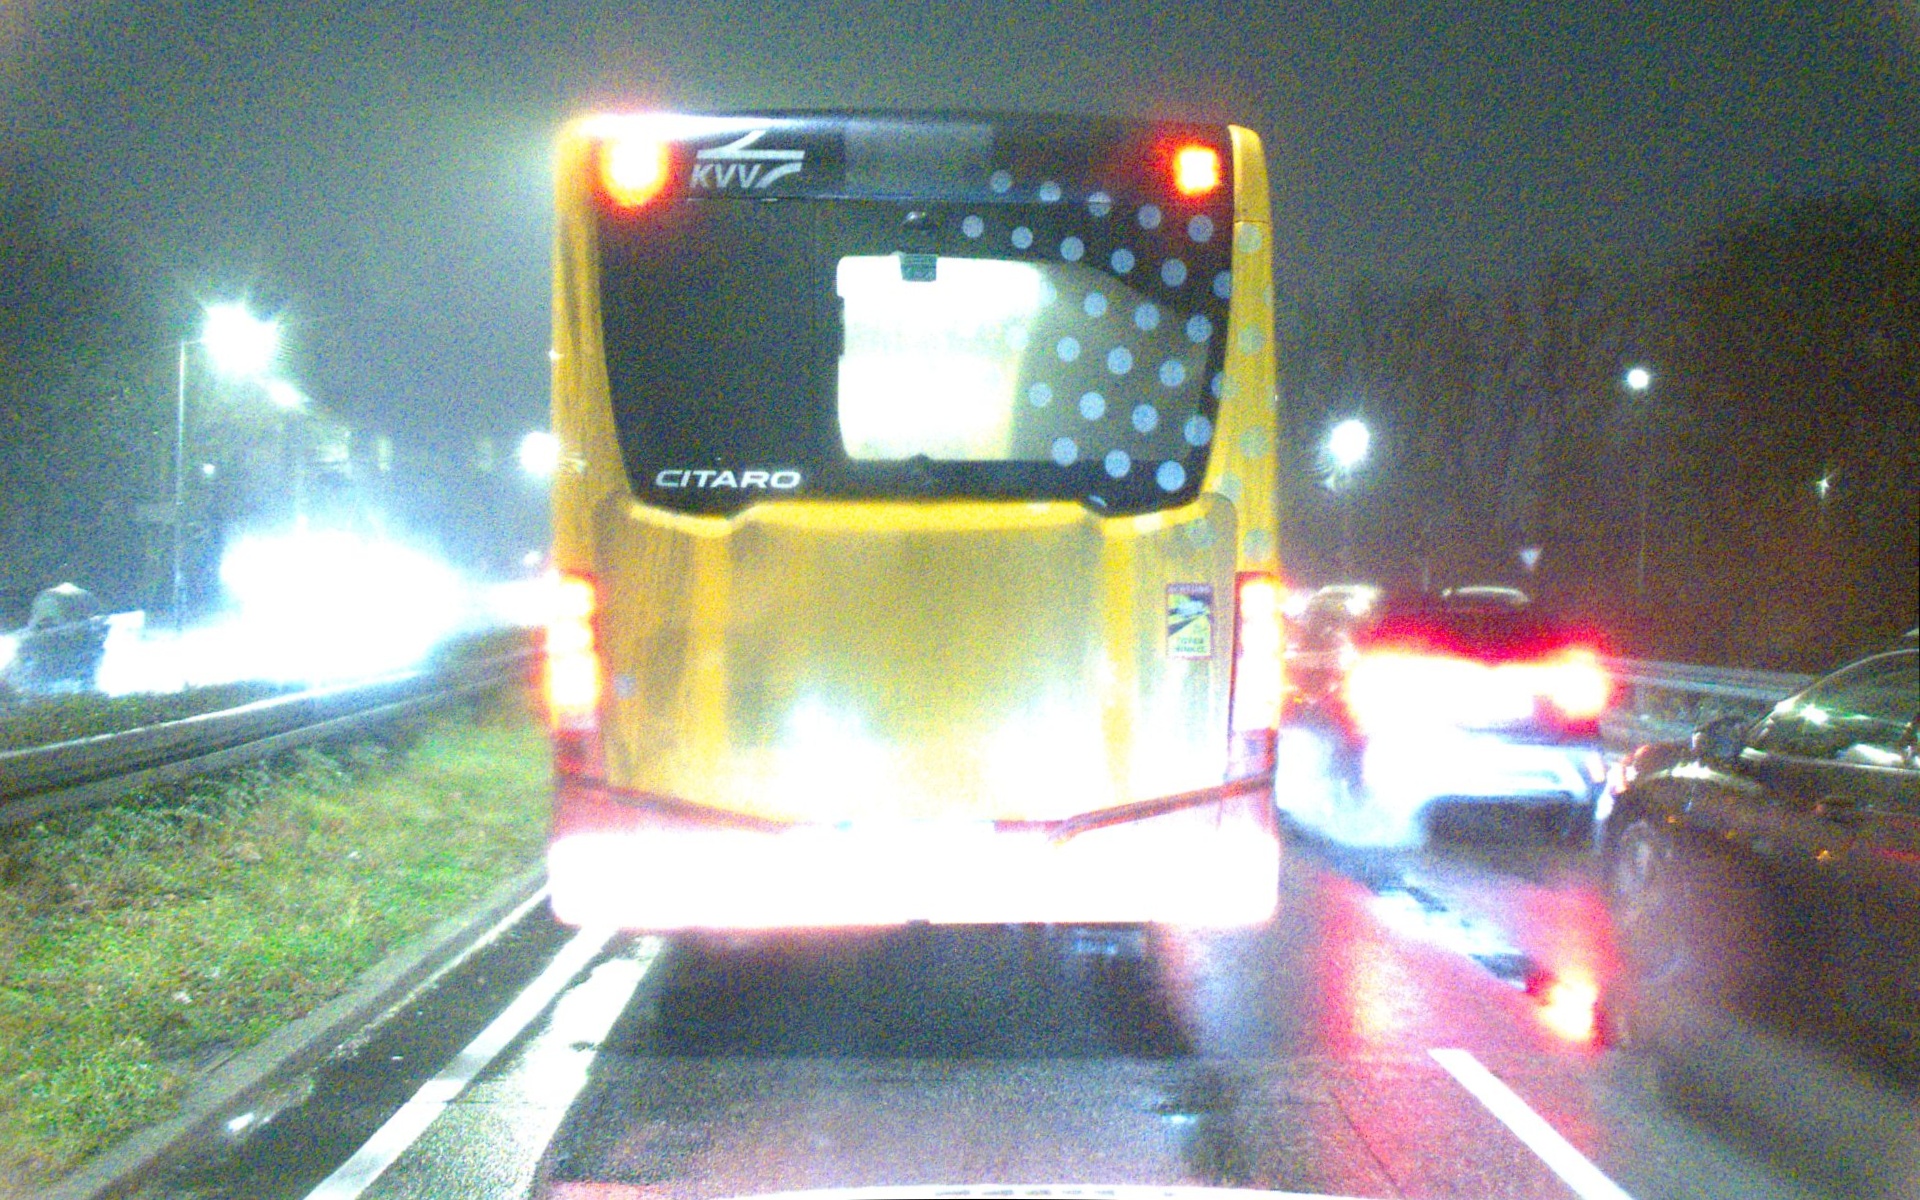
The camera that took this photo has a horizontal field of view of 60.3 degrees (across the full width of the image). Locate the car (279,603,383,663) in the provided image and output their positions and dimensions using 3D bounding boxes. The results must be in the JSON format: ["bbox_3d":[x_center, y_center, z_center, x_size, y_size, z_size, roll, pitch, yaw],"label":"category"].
[{"bbox_3d":[-16.245,0.814,42.931,1.681,1.448,4.655,-1,0,-10],"label":"car"}]

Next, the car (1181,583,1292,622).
[{"bbox_3d":[10.864,0.097,65.063,3.967,1.369,1.744,1,2,-9],"label":"car"}]

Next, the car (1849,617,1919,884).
[{"bbox_3d":[6.478,0.900,7.937,1.953,1.506,4.337,3,0,-2],"label":"car"}]

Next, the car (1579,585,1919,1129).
[{"bbox_3d":[3.546,0.759,4.865,1.639,1.532,4.558,2,0,-1],"label":"car"}]

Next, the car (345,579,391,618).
[{"bbox_3d":[-26.684,-0.088,74.624,1.738,1.659,4.229,0,1,-17],"label":"car"}]

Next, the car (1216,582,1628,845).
[{"bbox_3d":[3.073,0.689,11.850,1.644,1.548,3.957,1,0,-3],"label":"car"}]

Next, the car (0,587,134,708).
[{"bbox_3d":[-13.394,0.618,23.211,1.958,1.534,4.826,-1,0,-11],"label":"car"}]

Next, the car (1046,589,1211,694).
[{"bbox_3d":[2.497,0.595,25.471,1.953,1.466,3.998,1,0,-3],"label":"car"}]

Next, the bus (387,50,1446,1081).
[{"bbox_3d":[-0.298,-0.235,9.826,3.219,3.103,9.540,0,2,-2],"label":"bus"}]

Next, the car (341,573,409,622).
[{"bbox_3d":[-20.355,-0.071,57.672,1.838,1.636,4.232,0,0,-14],"label":"car"}]

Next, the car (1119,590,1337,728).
[{"bbox_3d":[2.862,0.585,18.429,1.652,1.353,3.959,0,0,-2],"label":"car"}]

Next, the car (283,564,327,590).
[{"bbox_3d":[-38.603,-1.334,97.436,1.781,1.508,3.776,1,0,-31],"label":"car"}]
